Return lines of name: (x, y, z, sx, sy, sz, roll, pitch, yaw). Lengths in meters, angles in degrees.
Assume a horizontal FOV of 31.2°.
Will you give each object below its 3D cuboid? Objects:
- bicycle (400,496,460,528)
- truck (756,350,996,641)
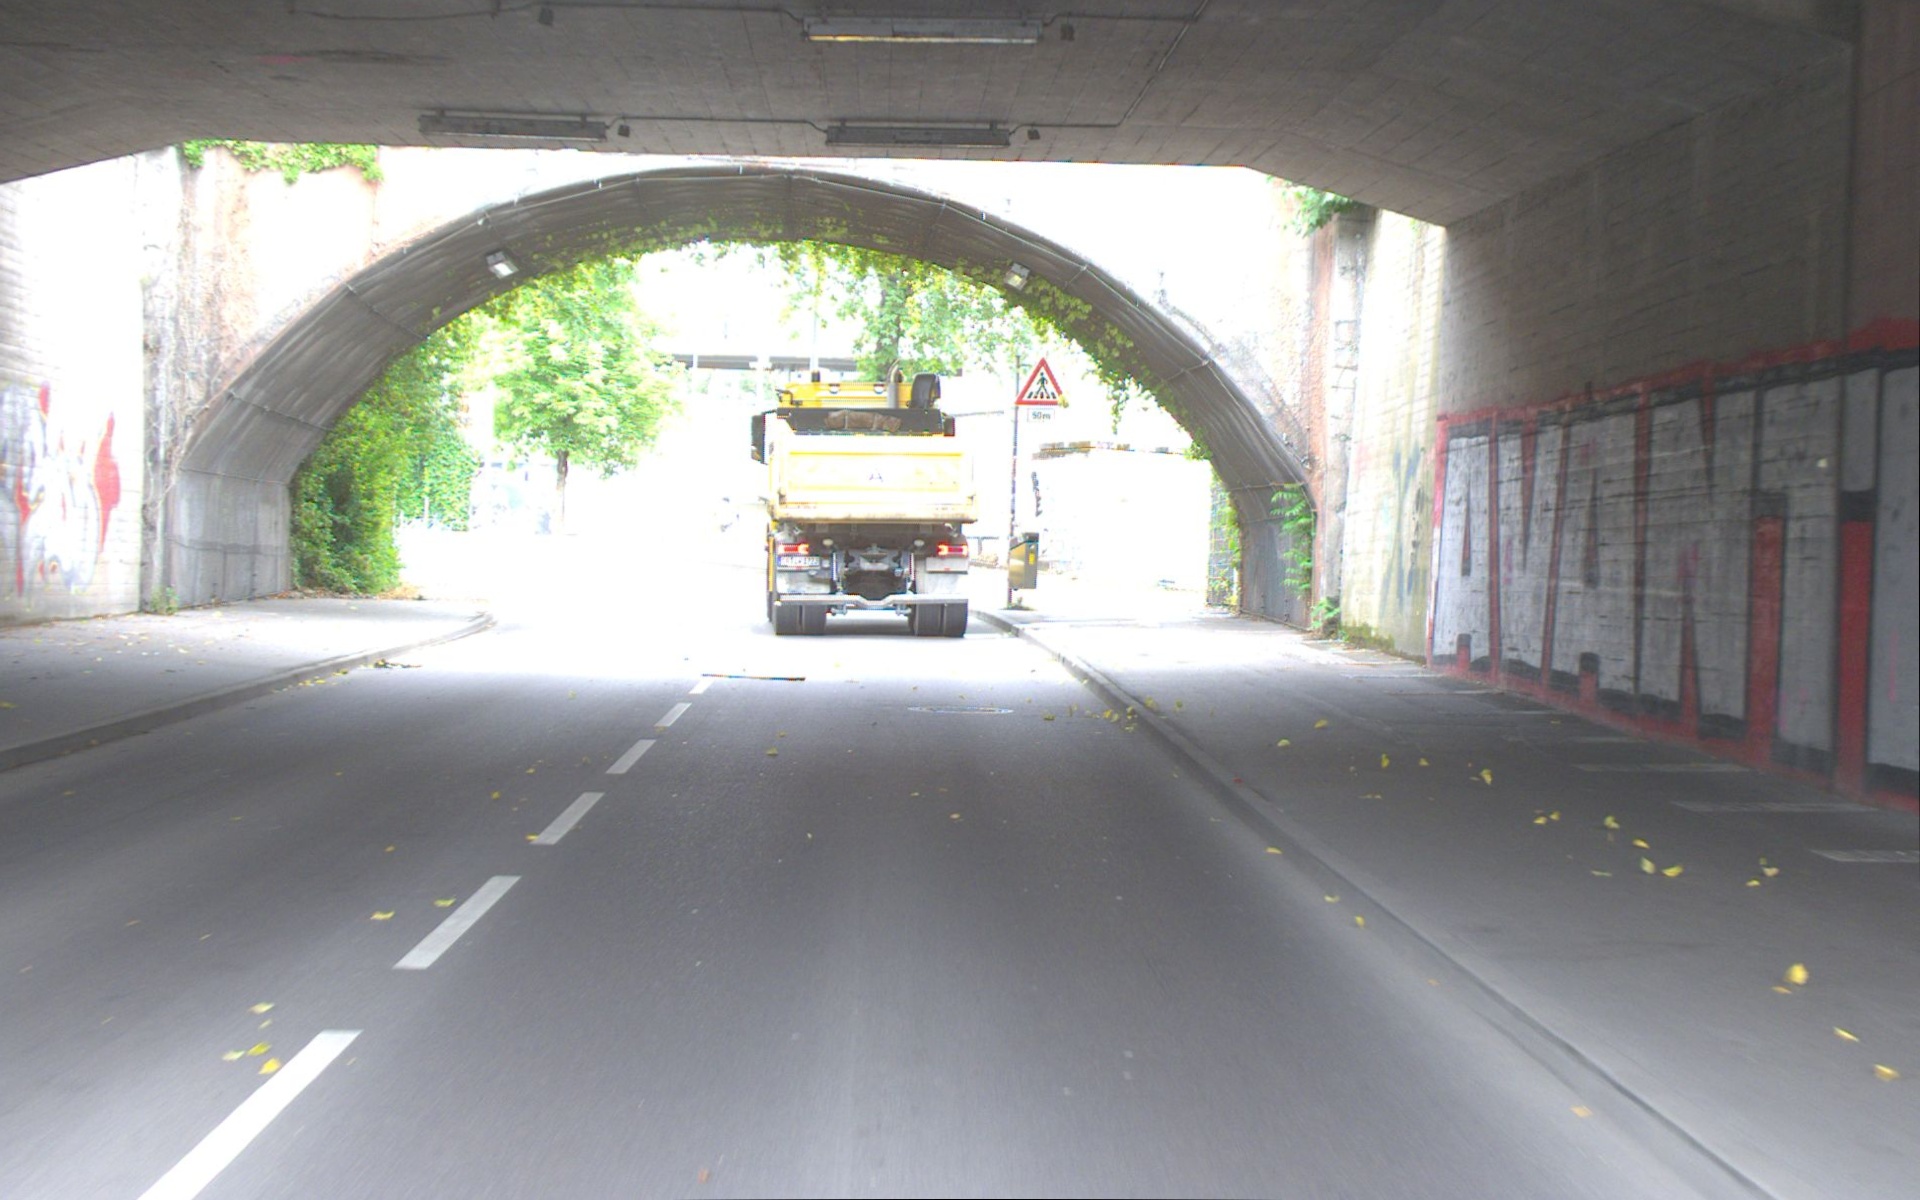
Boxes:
bicycle: (-18.038, -3.001, 116.984, 1.966, 0.862, 0.511, 7, -1, -41)
truck: (-1.276, -1.487, 46.525, 2.764, 3.471, 8.131, 2, 3, -4)
